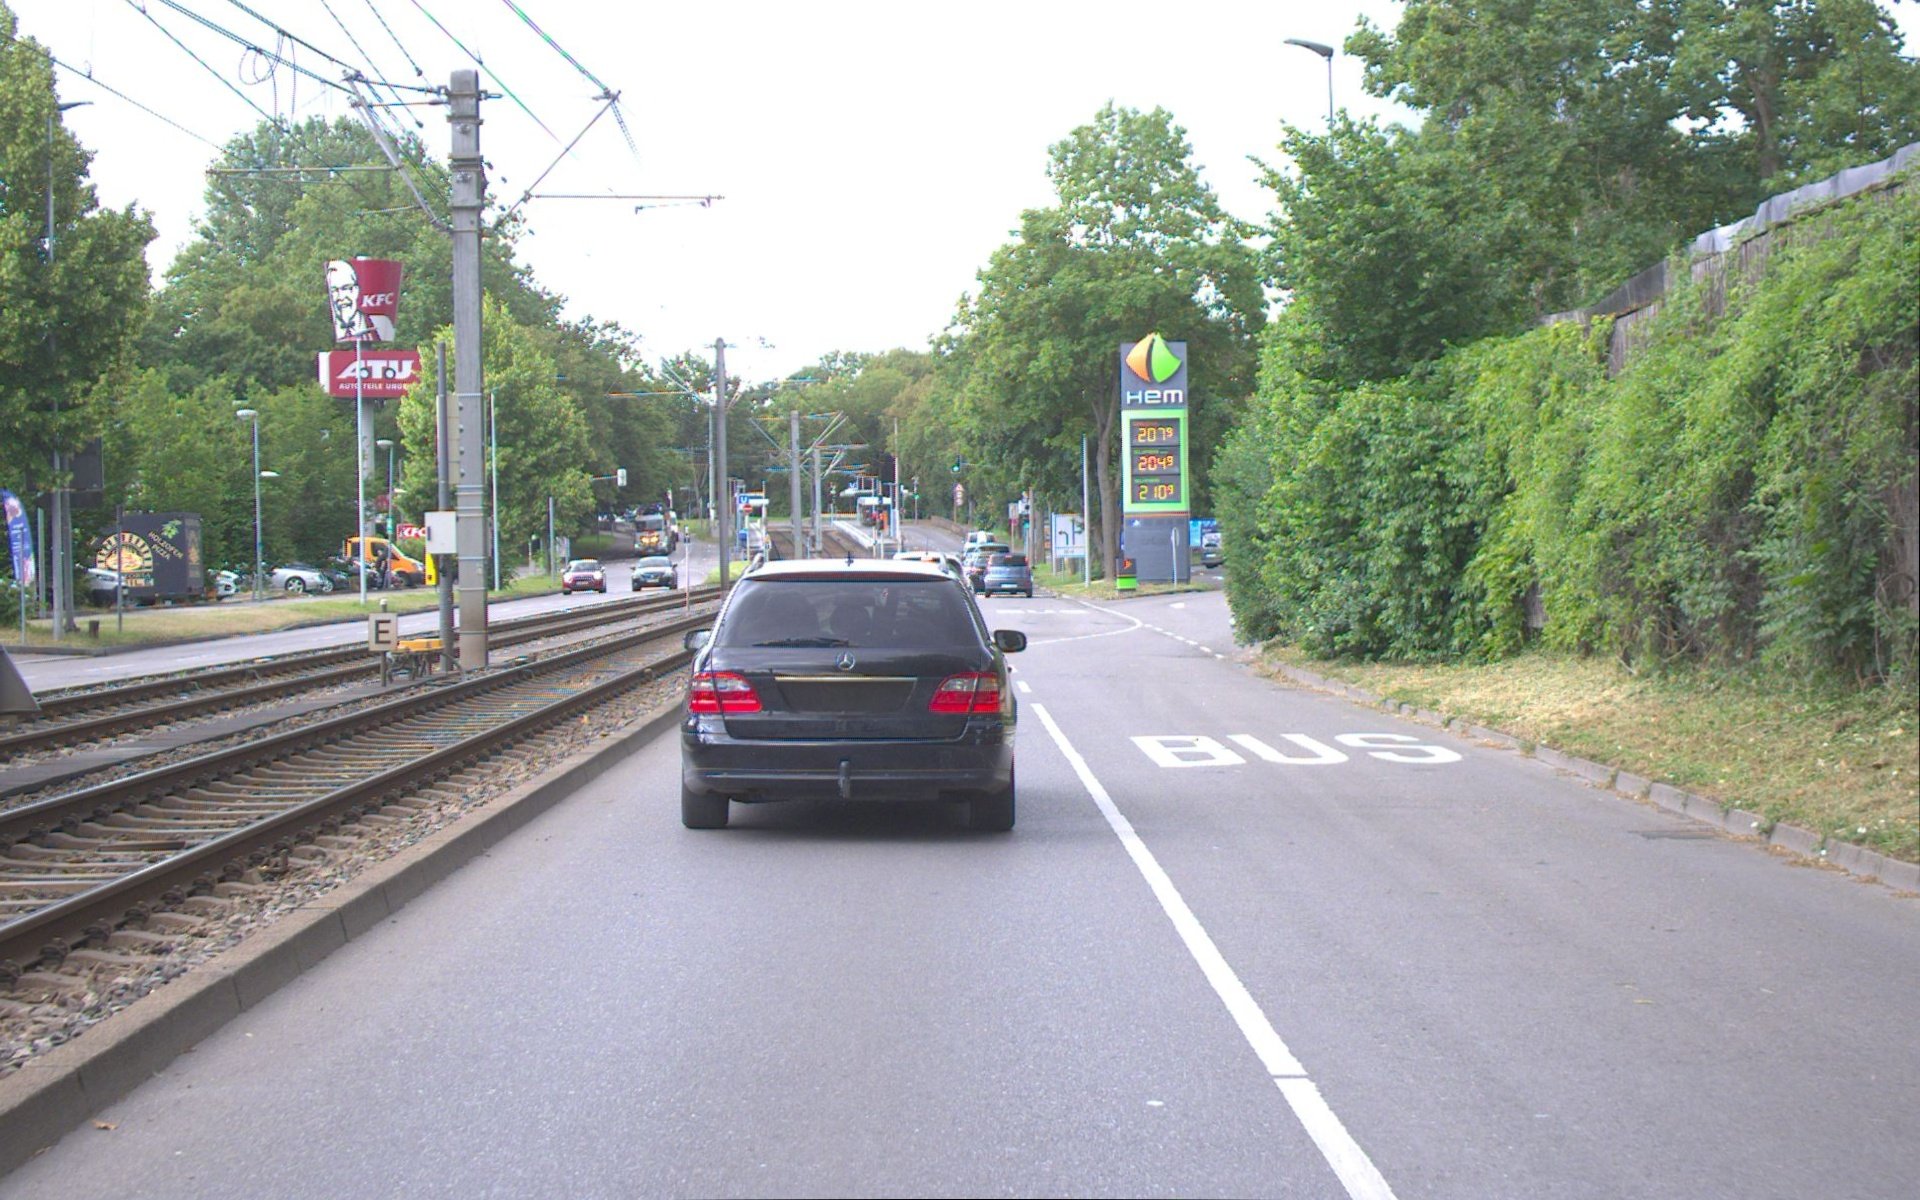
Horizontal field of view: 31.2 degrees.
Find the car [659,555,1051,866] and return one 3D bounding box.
[{"bbox_3d":[-0.667,0.509,18.404,1.808,1.469,3.881,1,1,-6],"label":"car"}]
